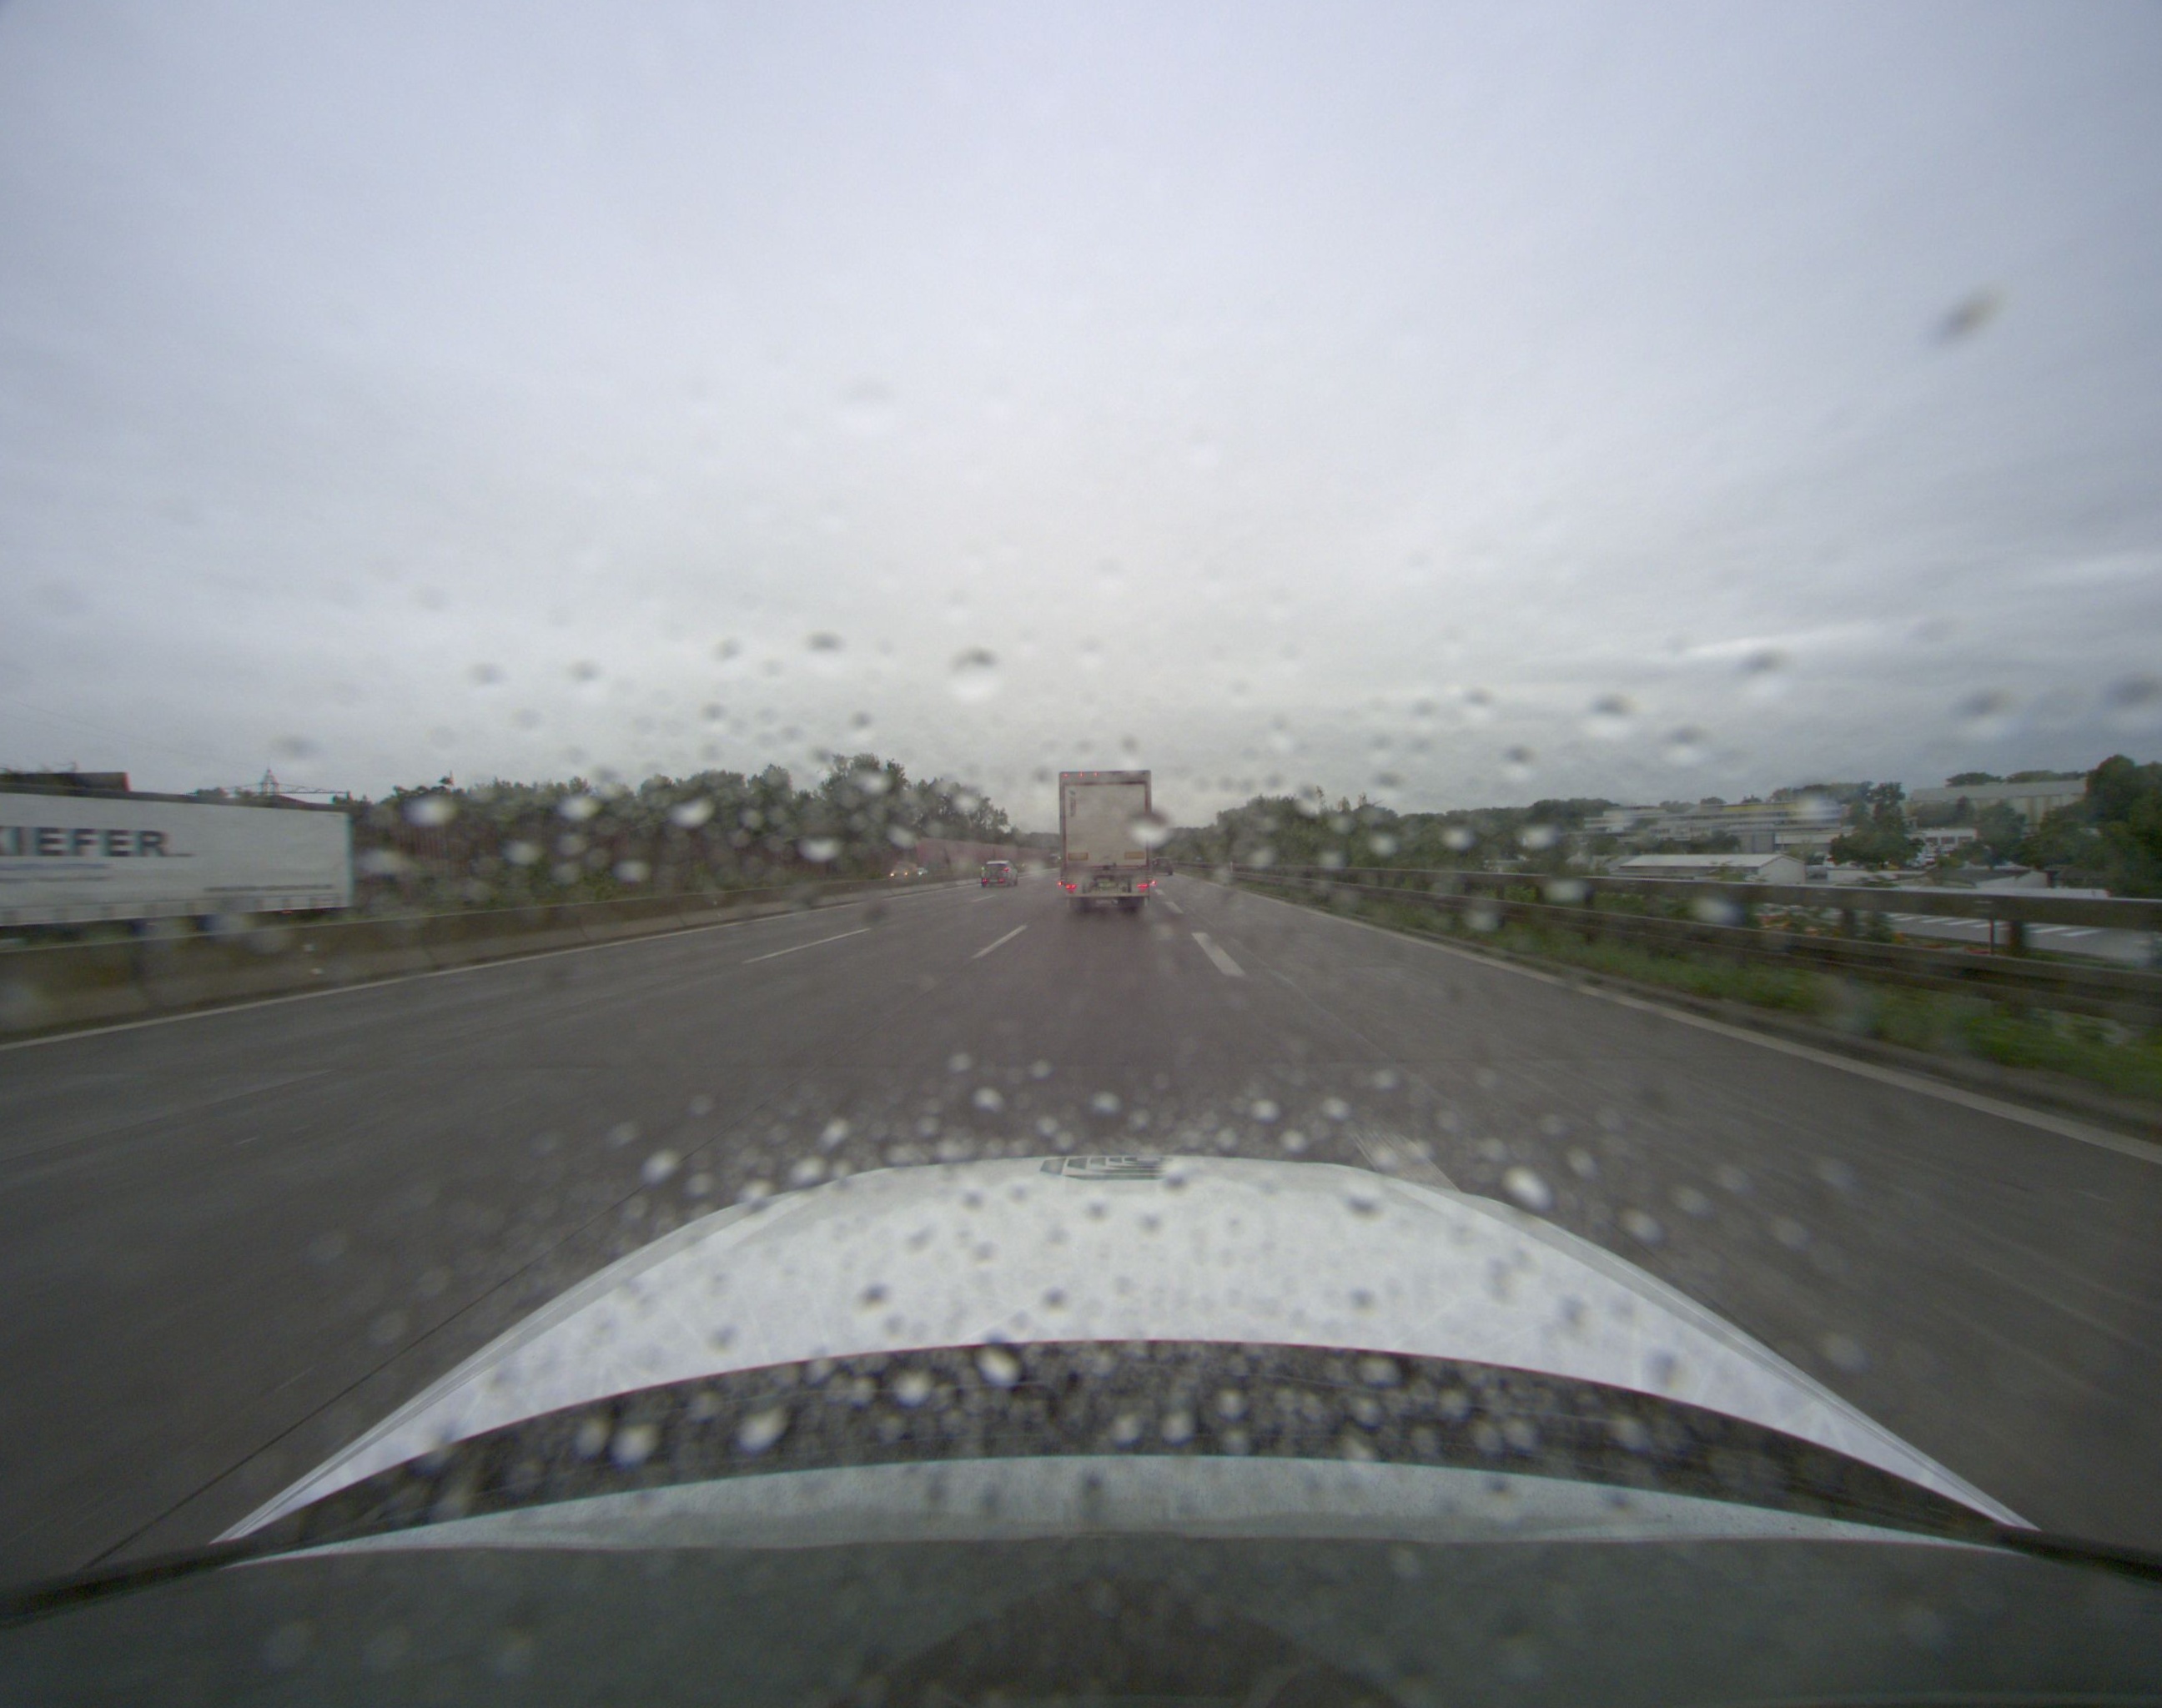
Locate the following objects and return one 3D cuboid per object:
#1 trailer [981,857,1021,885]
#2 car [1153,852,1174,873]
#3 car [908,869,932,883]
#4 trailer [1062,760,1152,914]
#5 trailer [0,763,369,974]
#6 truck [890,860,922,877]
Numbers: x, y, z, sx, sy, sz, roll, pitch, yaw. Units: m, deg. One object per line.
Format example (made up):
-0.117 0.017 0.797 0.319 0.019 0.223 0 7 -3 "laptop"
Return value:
-4.942 1.008 50.835 1.807 1.624 4.572 -1 0 3 "trailer"
7.830 0.825 77.747 1.889 1.949 4.005 0 0 4 "car"
-21.456 2.870 108.480 1.985 1.739 4.402 -1 -1 4 "car"
1.131 -0.445 29.815 2.333 4.157 14.838 -2 0 3 "trailer"
-22.963 0.297 17.414 3.044 4.186 13.579 0 0 3 "trailer"
-18.761 1.499 87.610 1.985 1.739 5.021 -1 -1 4 "truck"
